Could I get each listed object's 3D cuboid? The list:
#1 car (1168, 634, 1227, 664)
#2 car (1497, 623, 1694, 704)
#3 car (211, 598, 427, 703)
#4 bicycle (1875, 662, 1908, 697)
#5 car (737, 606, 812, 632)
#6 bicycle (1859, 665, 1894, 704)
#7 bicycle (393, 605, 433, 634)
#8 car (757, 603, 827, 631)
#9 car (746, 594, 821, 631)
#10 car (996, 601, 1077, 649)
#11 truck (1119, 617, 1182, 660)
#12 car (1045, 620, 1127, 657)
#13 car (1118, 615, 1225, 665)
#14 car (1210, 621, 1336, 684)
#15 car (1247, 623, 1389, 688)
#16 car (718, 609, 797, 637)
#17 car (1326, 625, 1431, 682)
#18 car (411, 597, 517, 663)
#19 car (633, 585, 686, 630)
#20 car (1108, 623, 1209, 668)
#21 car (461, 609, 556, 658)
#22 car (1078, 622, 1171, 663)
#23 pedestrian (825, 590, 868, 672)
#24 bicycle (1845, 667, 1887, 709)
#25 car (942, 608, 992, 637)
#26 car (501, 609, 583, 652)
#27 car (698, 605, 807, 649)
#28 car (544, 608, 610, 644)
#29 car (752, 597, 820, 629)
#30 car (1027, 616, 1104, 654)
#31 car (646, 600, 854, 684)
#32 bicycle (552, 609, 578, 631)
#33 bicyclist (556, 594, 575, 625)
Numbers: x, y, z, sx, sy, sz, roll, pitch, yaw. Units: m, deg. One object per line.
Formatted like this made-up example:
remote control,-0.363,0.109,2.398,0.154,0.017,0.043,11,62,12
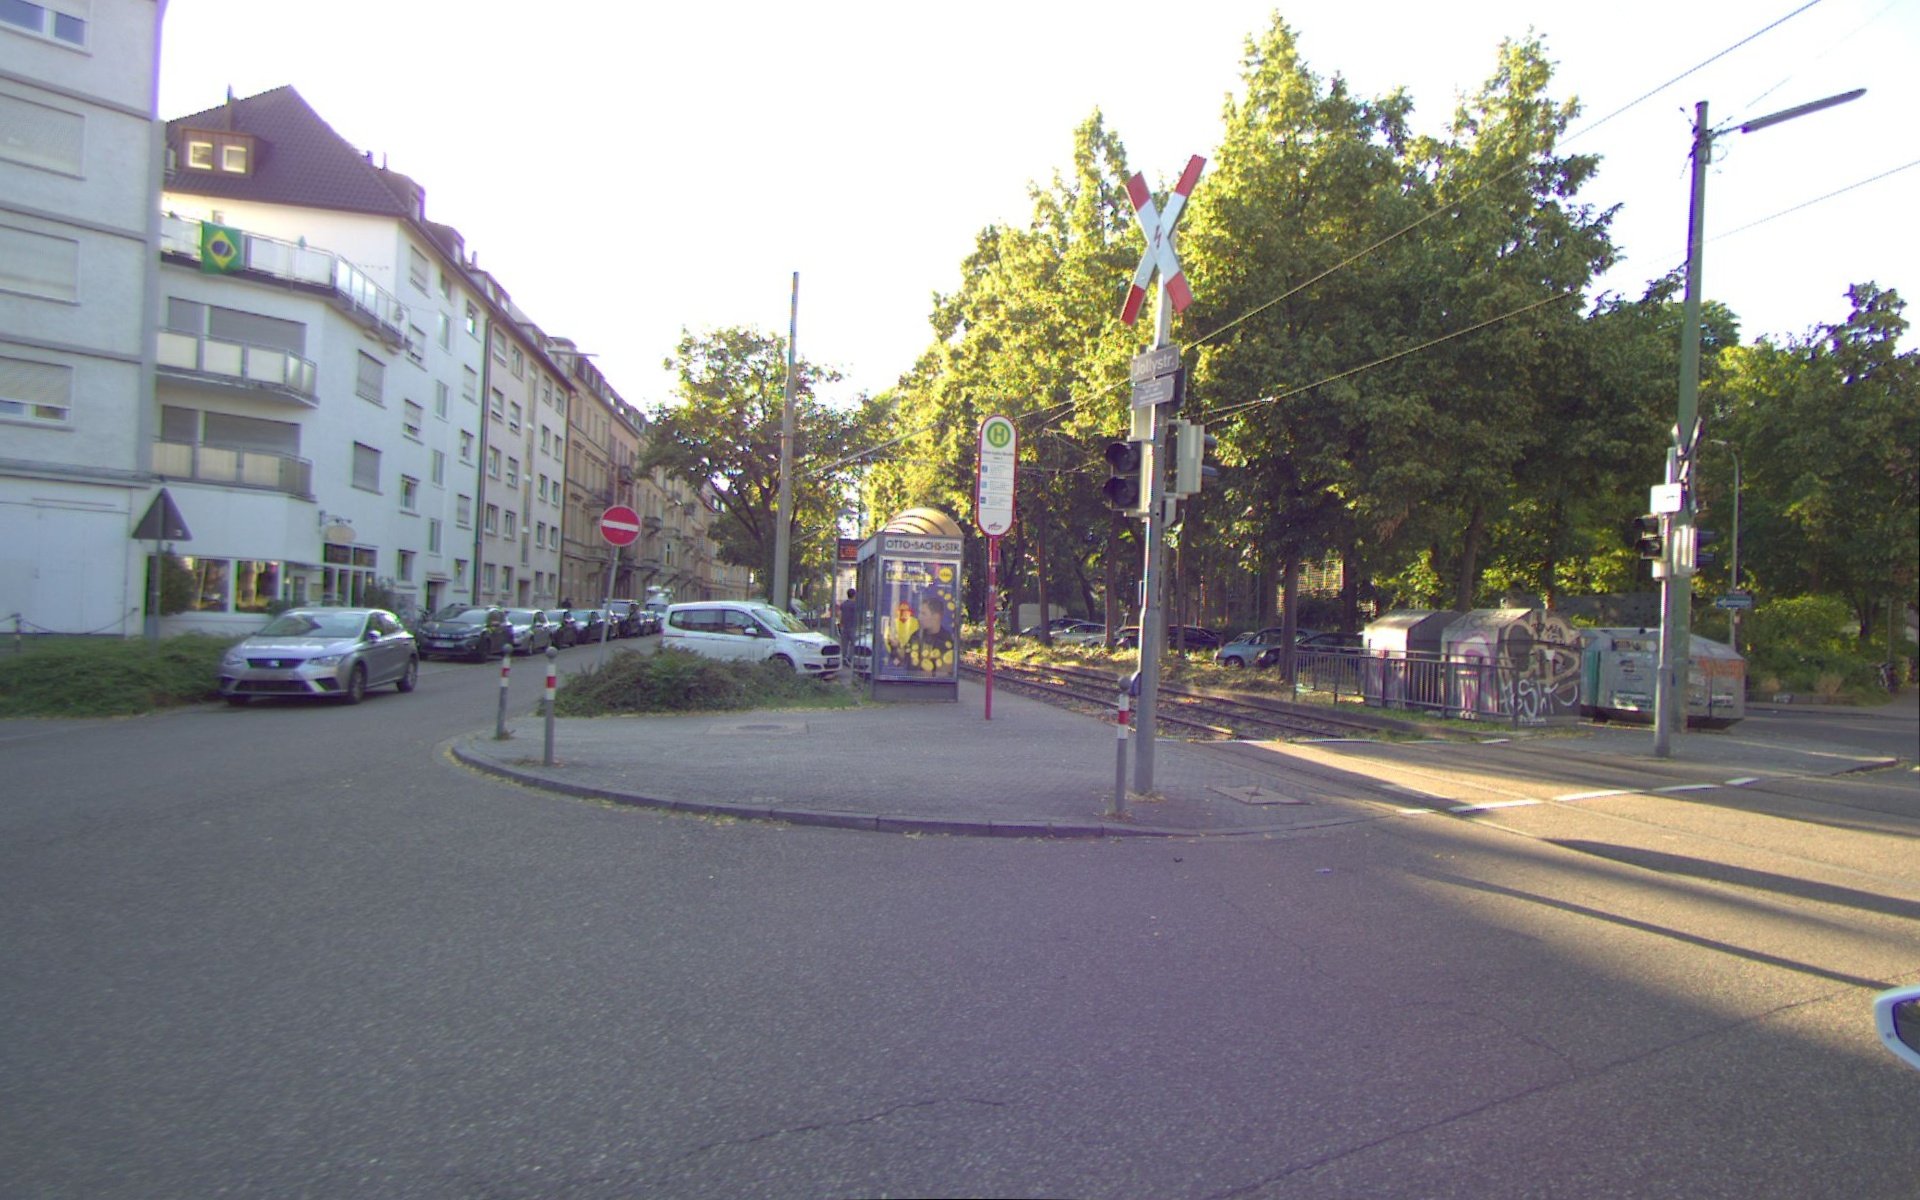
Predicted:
car,12.455,2.551,52.878,1.549,1.403,3.591,3,-1,-13
car,18.202,1.770,29.072,1.919,2.029,4.642,3,-1,-17
car,-10.078,0.741,16.162,1.687,1.465,3.989,1,-1,-14
bicycle,32.402,2.747,34.933,2.608,1.116,0.591,3,-1,-42
car,-11.434,1.159,61.900,4.158,1.492,1.858,-2,-1,19
bicycle,27.769,2.536,30.416,2.610,1.116,0.591,3,-1,-44
bicycle,-20.194,0.715,37.107,0.523,1.016,2.172,3,-1,-9
car,-11.041,1.098,65.984,4.158,1.721,1.858,-2,-1,19
car,-13.544,0.956,76.954,5.165,2.606,2.273,-2,0,19
car,4.643,1.515,60.998,4.413,2.508,1.820,4,-2,22
truck,11.446,2.277,60.783,2.331,2.383,4.377,2,-1,-9
car,6.177,1.882,49.027,3.752,1.439,1.739,5,-2,10
car,7.870,1.502,37.594,3.752,1.516,1.739,5,-2,10
car,9.678,1.608,31.287,3.546,1.583,1.608,5,0,14
car,10.061,1.539,28.486,3.546,1.466,1.609,5,0,14
car,-11.919,1.344,59.022,4.158,1.492,1.858,-2,-1,19
car,15.680,1.977,37.860,1.550,1.929,3.890,2,-1,-15
car,-13.934,0.802,28.435,1.686,1.695,3.991,1,-1,-12
car,-20.652,0.541,69.355,2.513,2.925,5.475,1,-1,-7
car,7.860,1.801,40.004,3.752,1.409,1.739,5,-2,10
car,-14.646,1.059,32.803,1.684,1.465,3.996,1,-1,-7
car,7.081,1.825,43.251,3.752,1.409,1.739,5,-2,10
pedestrian,-2.758,0.746,24.513,0.834,1.936,0.838,2,-1,2
bicycle,25.793,2.476,28.576,2.608,1.116,0.591,3,-1,-42
car,0.654,2.059,91.056,4.013,2.238,1.820,4,-2,22
car,-15.298,1.080,36.962,1.684,1.465,3.996,1,-1,-7
car,-8.608,1.119,41.614,4.163,1.673,1.855,-2,-1,27
car,-16.500,1.103,43.466,1.684,1.465,3.996,1,-1,-7
car,-14.836,1.100,85.618,5.165,2.606,2.273,-2,0,19
car,5.476,1.809,51.900,3.752,1.607,1.739,5,-2,10
car,-4.532,0.895,21.624,4.159,1.675,1.607,-2,0,22
bicycle,-20.931,1.050,53.254,0.701,1.065,2.344,2,-1,-9
bicyclist,-20.907,0.498,53.227,0.701,1.638,0.722,2,-1,-9
